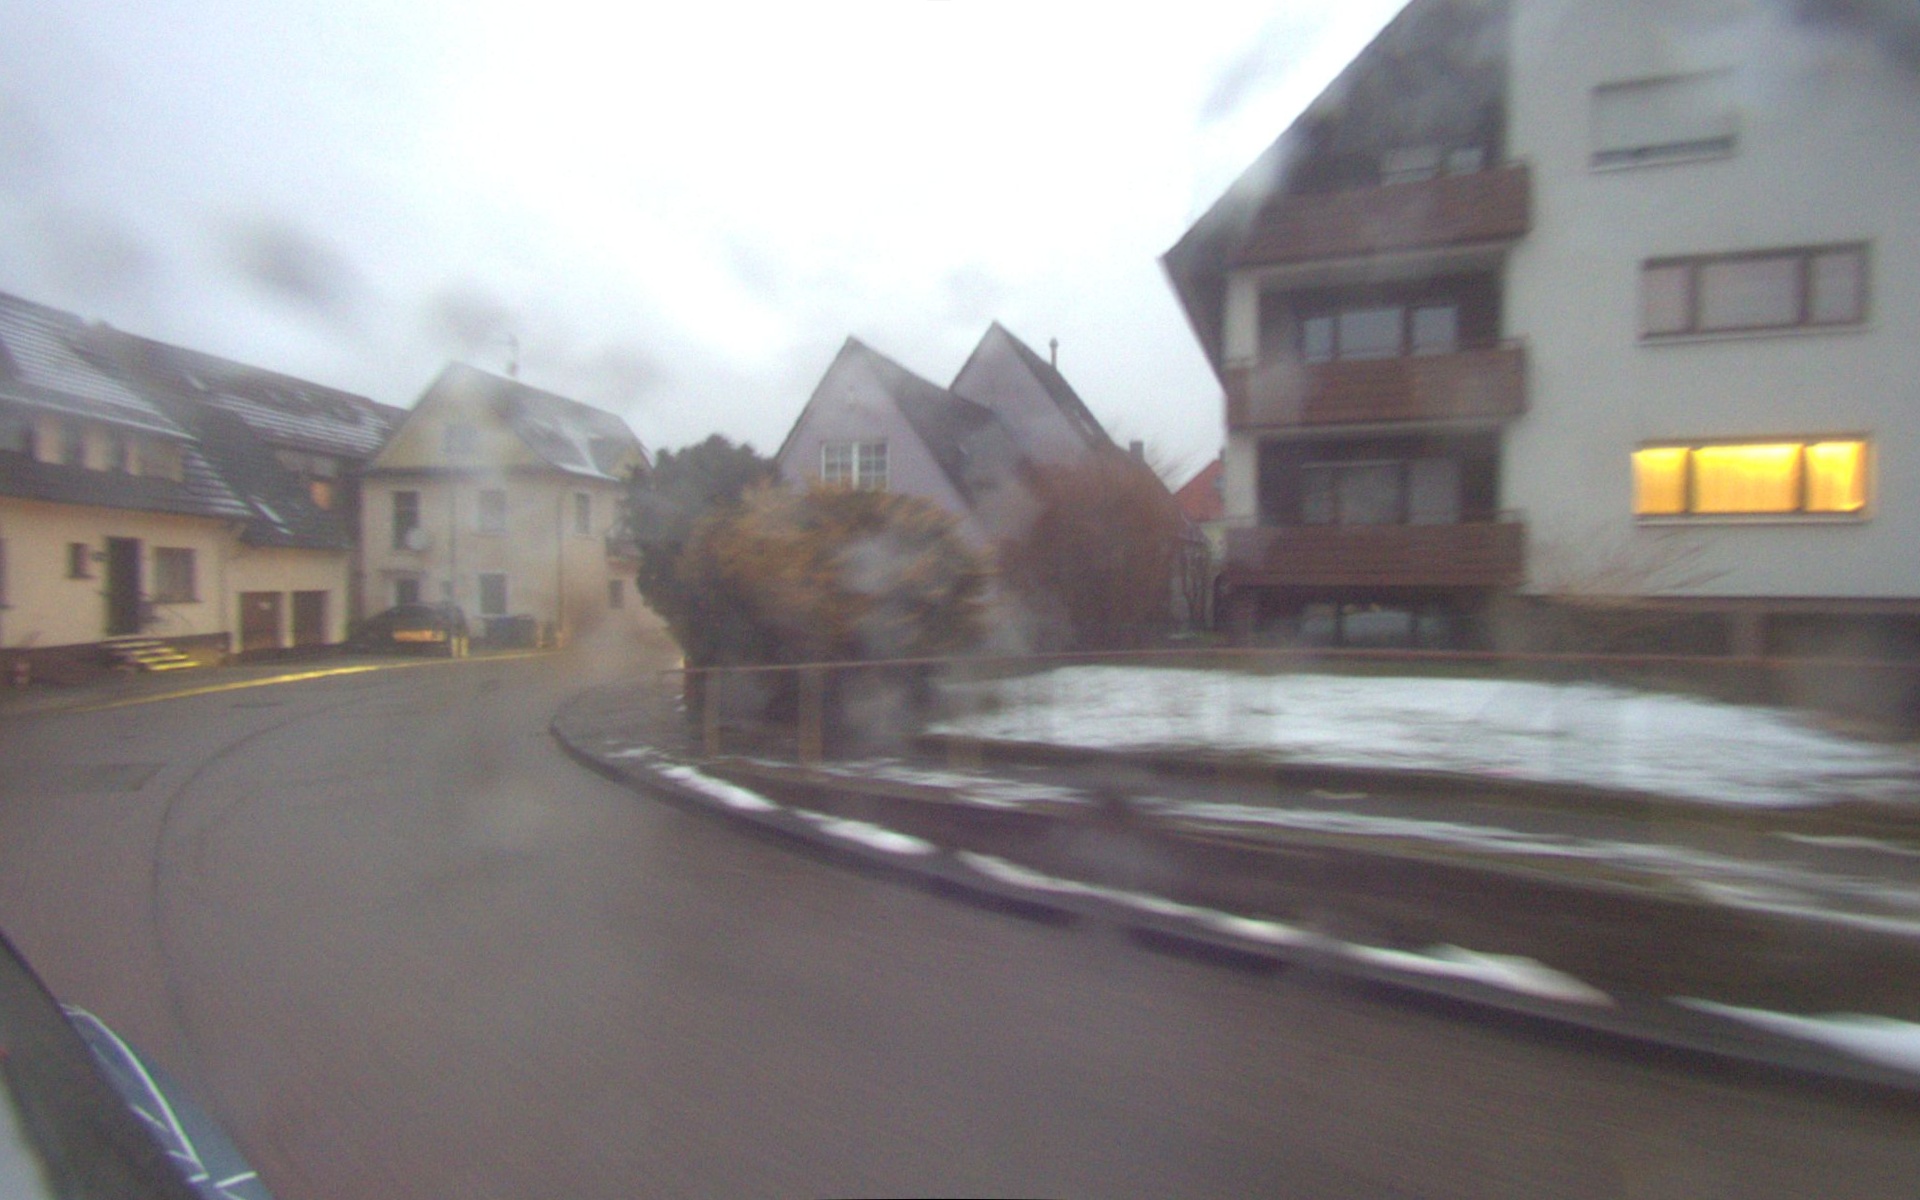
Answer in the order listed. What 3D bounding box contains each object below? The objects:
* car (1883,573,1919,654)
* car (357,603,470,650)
[{"bbox_3d":[18.159,0.233,17.509,1.807,1.497,3.974,-1,0,20],"label":"car"},{"bbox_3d":[-20.074,0.948,37.185,3.460,1.517,1.641,3,0,16],"label":"car"}]
